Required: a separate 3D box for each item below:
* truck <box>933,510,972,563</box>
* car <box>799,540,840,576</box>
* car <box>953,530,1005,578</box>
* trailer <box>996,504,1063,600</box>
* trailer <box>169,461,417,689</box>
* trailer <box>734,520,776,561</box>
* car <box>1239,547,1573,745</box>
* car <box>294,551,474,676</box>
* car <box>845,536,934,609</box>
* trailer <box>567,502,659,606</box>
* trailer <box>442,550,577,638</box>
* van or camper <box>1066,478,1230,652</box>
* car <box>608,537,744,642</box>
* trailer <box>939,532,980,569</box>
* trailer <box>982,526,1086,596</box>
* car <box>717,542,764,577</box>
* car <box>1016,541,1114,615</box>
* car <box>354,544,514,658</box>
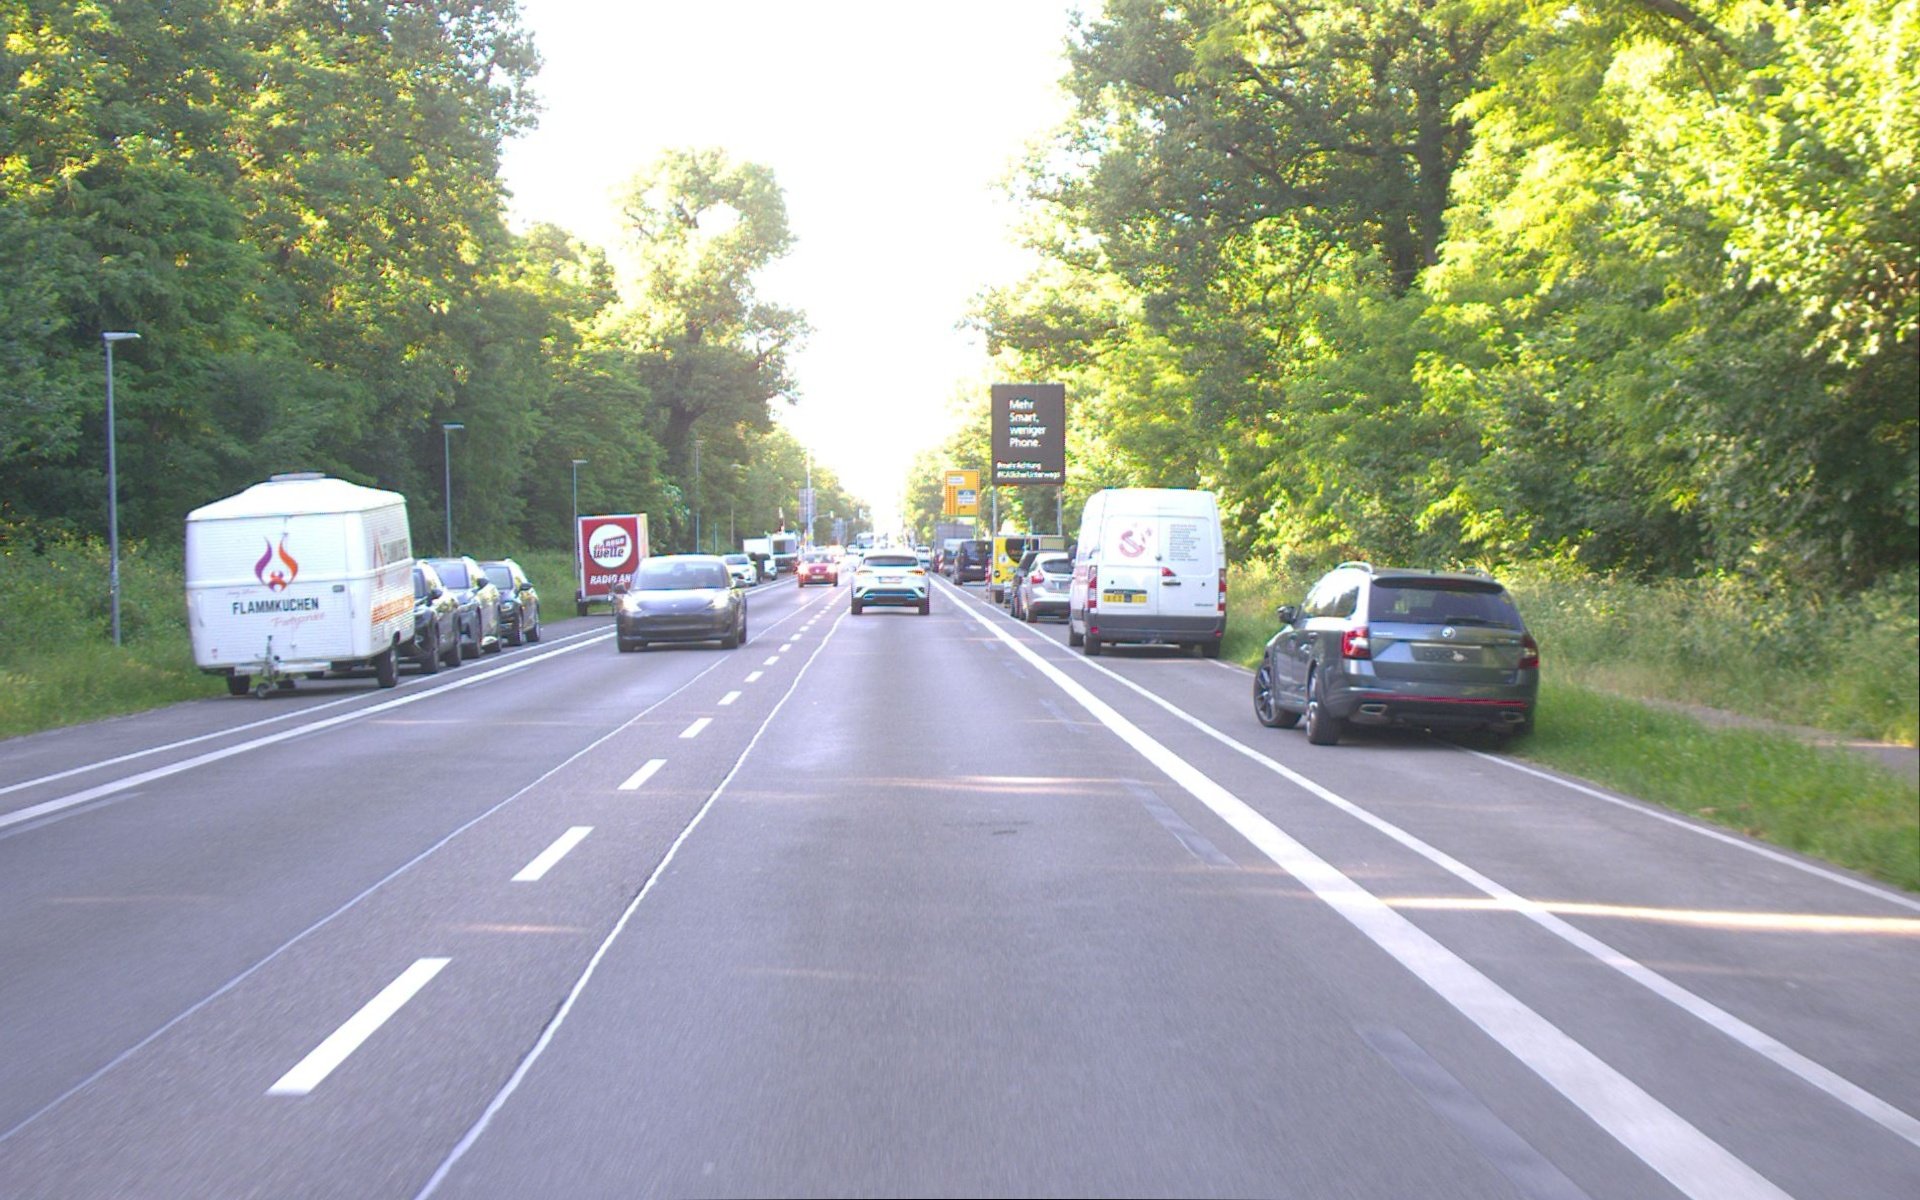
[{"bbox_3d":[-0.521,-4.118,224.168,2.505,3.355,7.108,1,1,0],"label":"truck"},{"bbox_3d":[-5.785,-1.728,141.785,1.604,1.416,3.519,-2,1,-1],"label":"car"},{"bbox_3d":[0.804,-2.001,150.002,2.113,2.007,5.040,2,1,-1],"label":"car"},{"bbox_3d":[1.858,-1.288,92.469,1.613,2.500,4.000,1,1,-1],"label":"trailer"},{"bbox_3d":[-7.836,-0.316,40.805,2.345,2.520,4.345,-1,1,-4],"label":"trailer"},{"bbox_3d":[-11.639,-3.379,195.199,2.075,2.285,3.486,-1,1,1],"label":"trailer"},{"bbox_3d":[3.602,0.322,28.612,1.834,1.416,4.598,2,1,-4],"label":"car"},{"bbox_3d":[-7.634,0.150,45.869,1.671,1.490,4.194,-4,1,-1],"label":"car"},{"bbox_3d":[-1.639,-0.670,80.298,1.993,1.634,4.000,-1,1,-1],"label":"car"},{"bbox_3d":[-8.987,-1.208,89.322,1.993,2.612,4.086,-1,1,-1],"label":"trailer"},{"bbox_3d":[-7.822,-0.132,60.010,1.841,1.461,4.467,0,1,-1],"label":"trailer"},{"bbox_3d":[2.773,-0.555,52.124,2.125,2.474,6.305,0,1,0],"label":"van or camper"},{"bbox_3d":[-4.415,-0.181,54.012,1.819,1.527,4.531,-1,1,-1],"label":"car"},{"bbox_3d":[-0.013,-2.786,194.047,1.616,2.105,2.394,1,1,20],"label":"trailer"},{"bbox_3d":[2.182,-1.165,100.566,1.964,2.016,3.840,0,1,19],"label":"trailer"},{"bbox_3d":[-9.888,-1.848,154.960,1.867,1.445,4.071,-3,1,-1],"label":"car"},{"bbox_3d":[2.193,-0.488,72.698,1.734,1.482,4.401,2,1,-2],"label":"car"},{"bbox_3d":[-8.052,-0.008,53.029,1.671,1.568,5.127,-4,1,-1],"label":"car"}]
